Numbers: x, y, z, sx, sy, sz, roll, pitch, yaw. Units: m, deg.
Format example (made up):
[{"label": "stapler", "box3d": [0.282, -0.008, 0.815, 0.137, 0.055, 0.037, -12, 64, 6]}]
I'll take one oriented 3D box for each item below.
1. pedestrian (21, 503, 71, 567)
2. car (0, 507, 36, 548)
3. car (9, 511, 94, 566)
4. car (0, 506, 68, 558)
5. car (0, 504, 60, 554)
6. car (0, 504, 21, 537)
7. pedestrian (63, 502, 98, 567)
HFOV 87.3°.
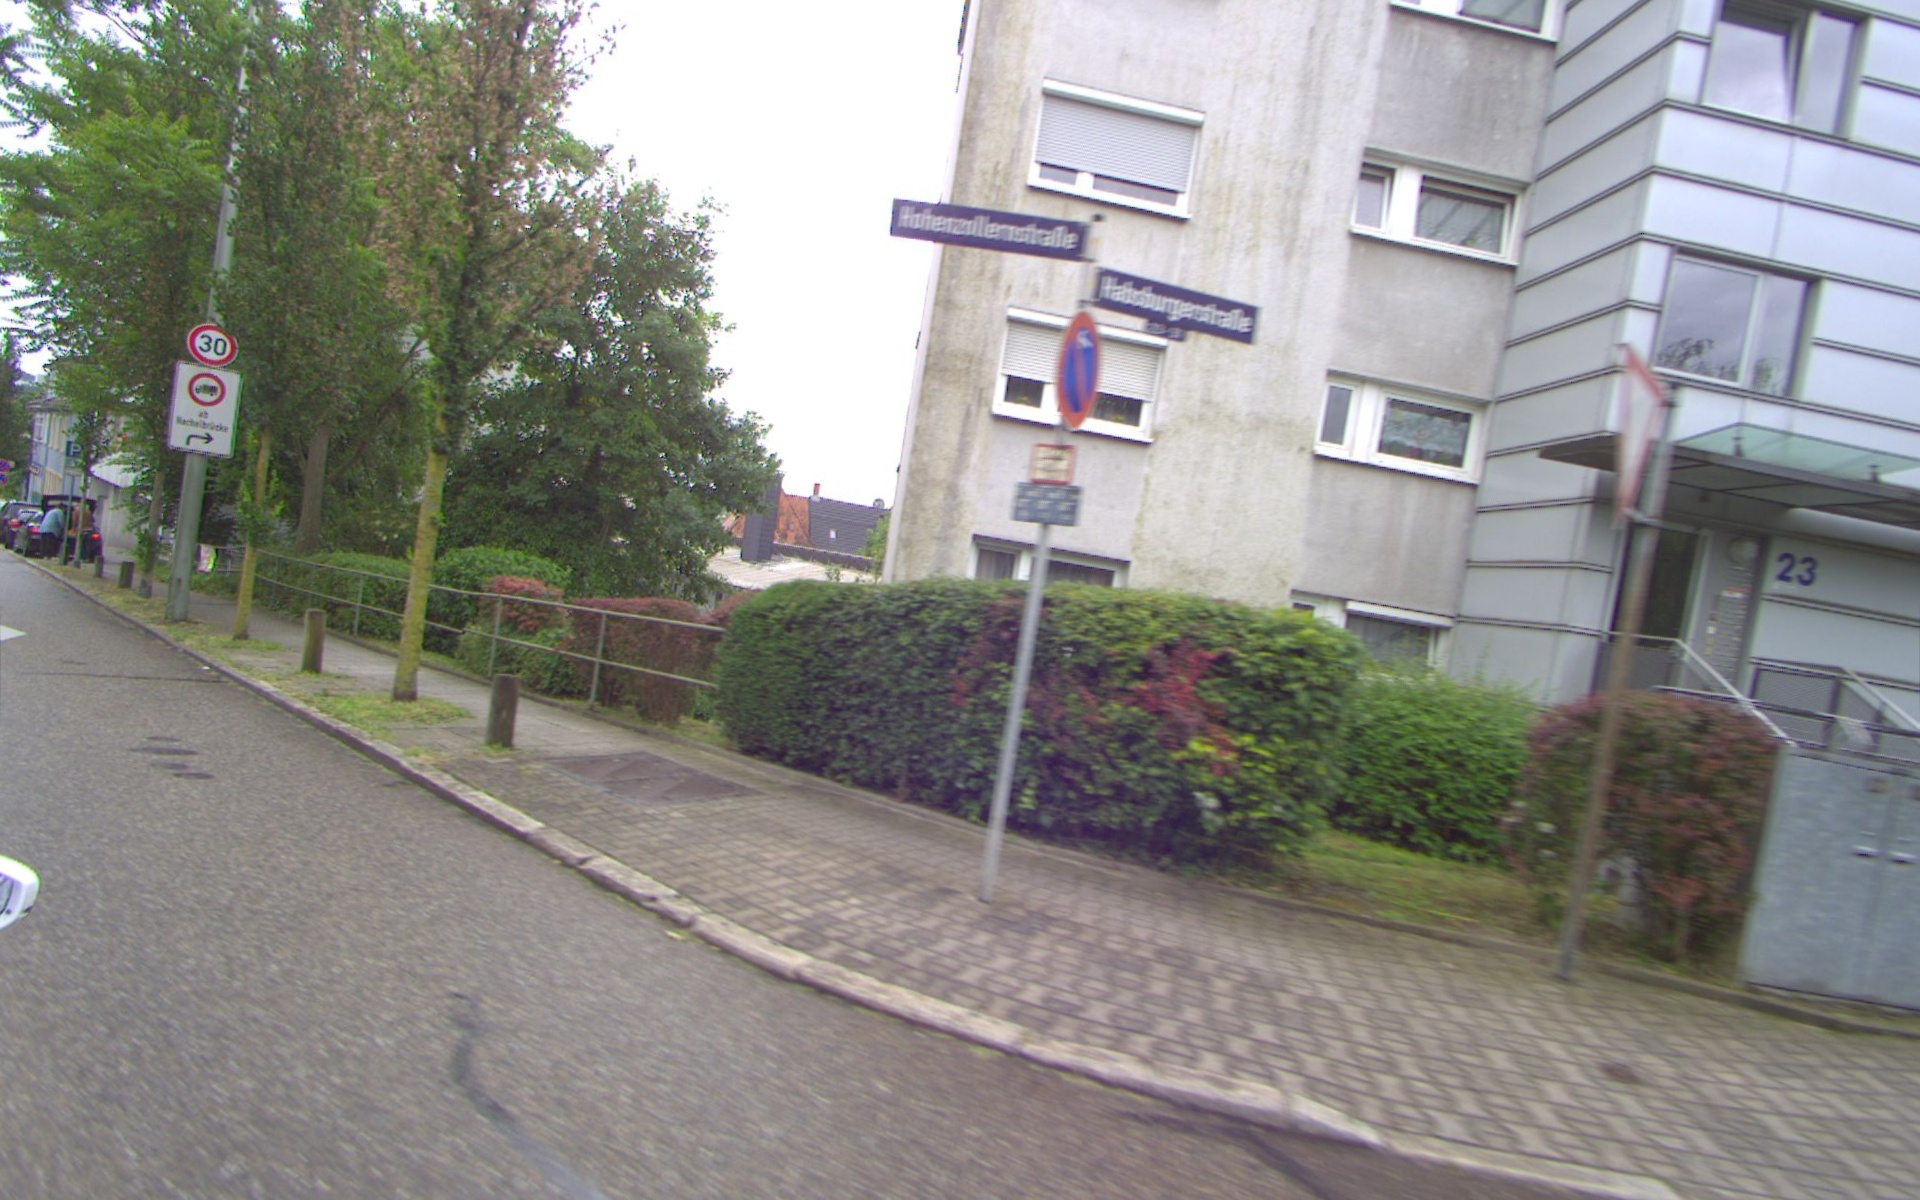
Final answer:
[{"label": "pedestrian", "box3d": [-27.004, -1.912, 29.723, 0.751, 1.746, 0.736, 6, 2, 18]}, {"label": "car", "box3d": [-41.219, -3.206, 43.469, 4.234, 1.511, 1.580, 7, 0, 44]}, {"label": "car", "box3d": [-28.390, -1.935, 31.386, 3.946, 1.453, 1.501, 5, -1, 42]}, {"label": "car", "box3d": [-32.661, -2.418, 35.322, 3.948, 1.482, 1.677, 7, 0, 44]}, {"label": "car", "box3d": [-35.814, -2.761, 38.529, 3.948, 1.590, 1.681, 7, 0, 44]}, {"label": "car", "box3d": [-51.798, -4.377, 53.903, 3.948, 1.590, 1.902, 7, 0, 44]}, {"label": "pedestrian", "box3d": [-26.410, -1.971, 30.228, 0.683, 1.861, 0.658, 4, 3, -40]}]
